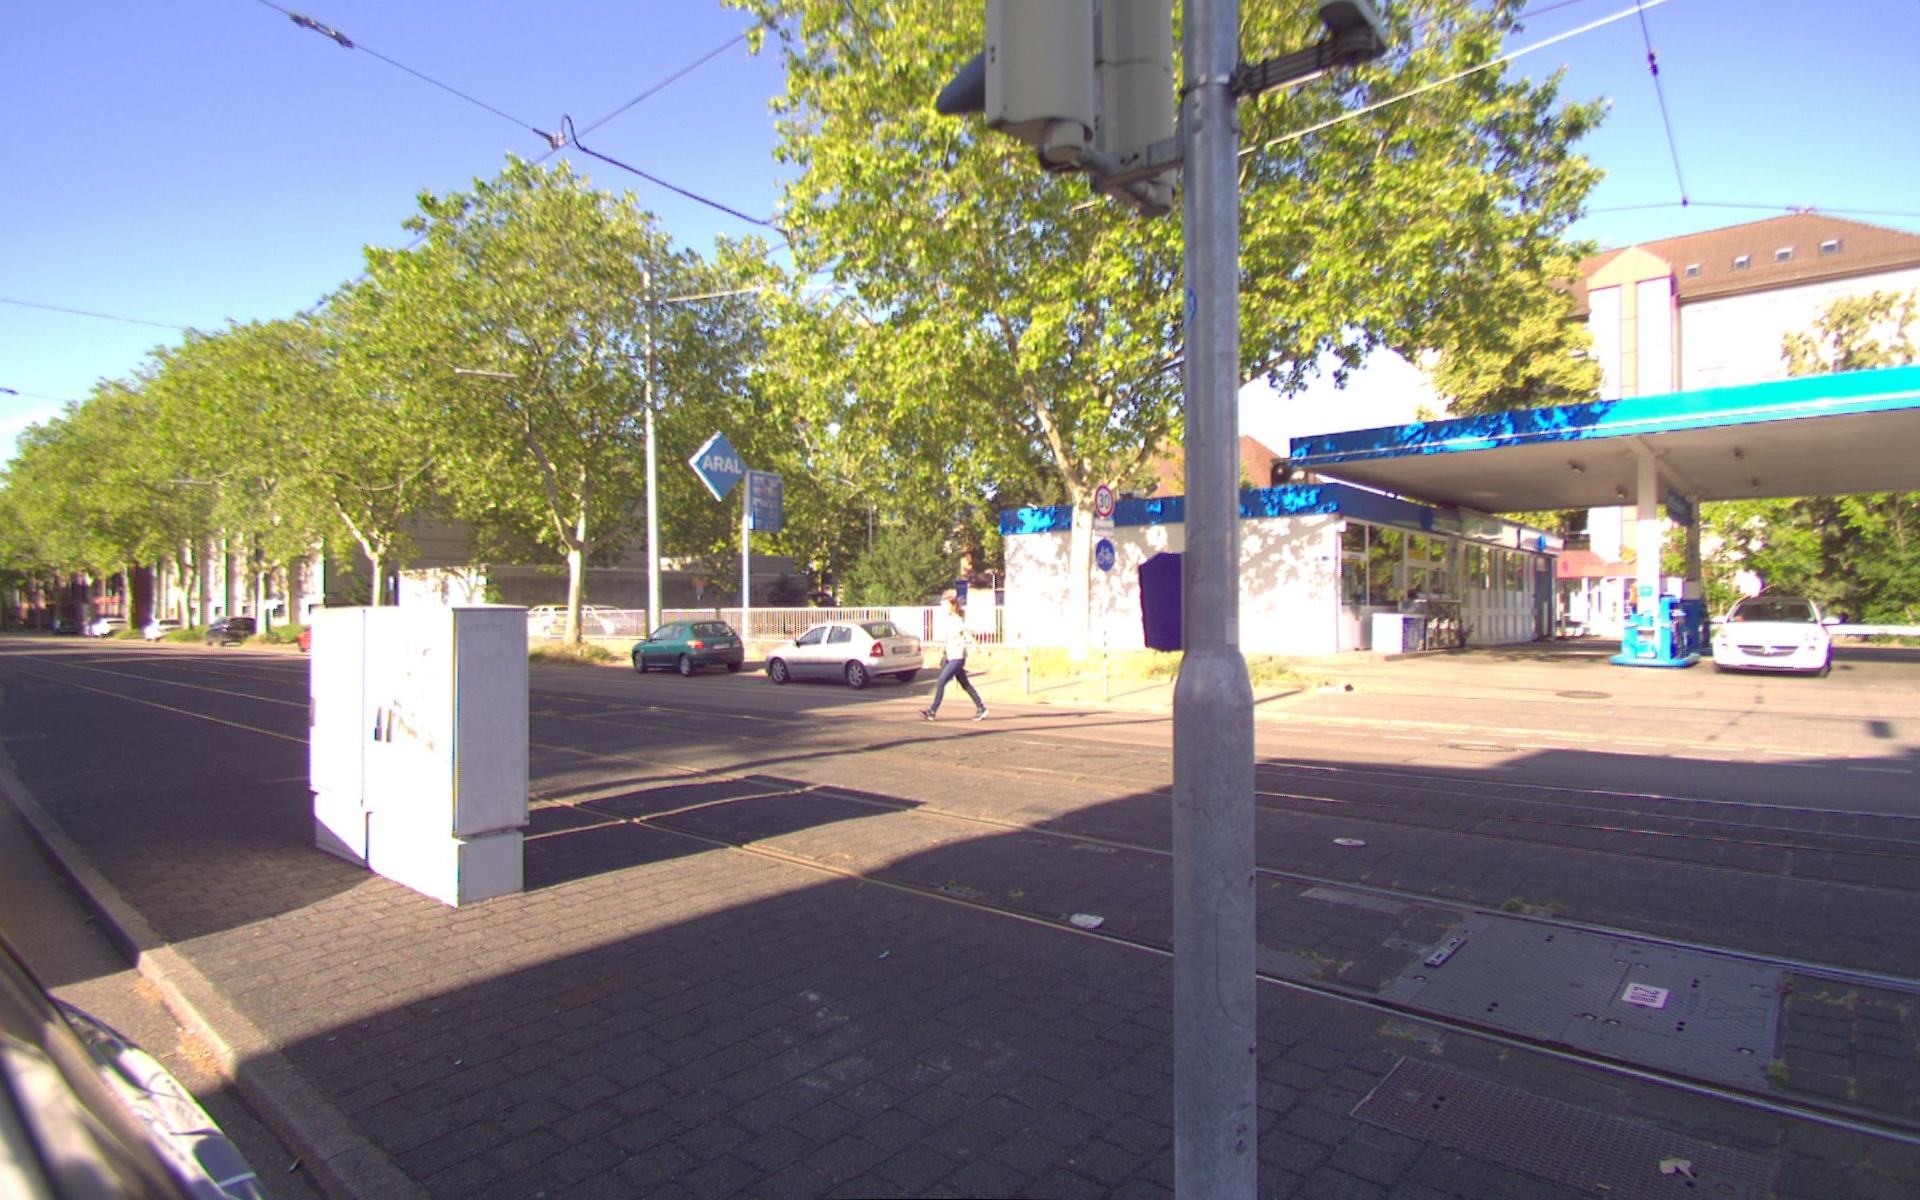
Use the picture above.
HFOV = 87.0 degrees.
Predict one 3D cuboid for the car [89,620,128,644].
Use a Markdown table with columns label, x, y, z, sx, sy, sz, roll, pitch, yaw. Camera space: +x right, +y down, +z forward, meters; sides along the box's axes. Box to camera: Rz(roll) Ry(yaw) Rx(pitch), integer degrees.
| label | x | y | z | sx | sy | sz | roll | pitch | yaw |
| --- | --- | --- | --- | --- | --- | --- | --- | --- | --- |
| car | -66.945 | 2.485 | 79.566 | 4.098 | 1.686 | 1.821 | -1 | 1 | 44 |

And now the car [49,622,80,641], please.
| label | x | y | z | sx | sy | sz | roll | pitch | yaw |
| --- | --- | --- | --- | --- | --- | --- | --- | --- | --- |
| car | -85.042 | 2.942 | 96.089 | 4.098 | 1.686 | 1.821 | -1 | 1 | 44 |

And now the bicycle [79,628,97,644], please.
| label | x | y | z | sx | sy | sz | roll | pitch | yaw |
| --- | --- | --- | --- | --- | --- | --- | --- | --- | --- |
| bicycle | -62.921 | 2.587 | 73.034 | 2.532 | 1.129 | 0.645 | -1 | -1 | 41 |

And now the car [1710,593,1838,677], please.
| label | x | y | z | sx | sy | sz | roll | pitch | yaw |
| --- | --- | --- | --- | --- | --- | --- | --- | --- | --- |
| car | 15.999 | 0.641 | 19.847 | 1.780 | 1.475 | 3.946 | -1 | -1 | 40 |

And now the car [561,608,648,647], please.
| label | x | y | z | sx | sy | sz | roll | pitch | yaw |
| --- | --- | --- | --- | --- | --- | --- | --- | --- | --- |
| car | -15.393 | 1.169 | 43.763 | 3.999 | 1.545 | 1.822 | -1 | 1 | 42 |

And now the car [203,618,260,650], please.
| label | x | y | z | sx | sy | sz | roll | pitch | yaw |
| --- | --- | --- | --- | --- | --- | --- | --- | --- | --- |
| car | -40.657 | 1.882 | 56.471 | 4.098 | 1.628 | 1.821 | -1 | 1 | 44 |

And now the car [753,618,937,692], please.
| label | x | y | z | sx | sy | sz | roll | pitch | yaw |
| --- | --- | --- | --- | --- | --- | --- | --- | --- | --- |
| car | -2.622 | 1.174 | 22.636 | 3.997 | 1.418 | 1.823 | -1 | 1 | 40 |

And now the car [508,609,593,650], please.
| label | x | y | z | sx | sy | sz | roll | pitch | yaw |
| --- | --- | --- | --- | --- | --- | --- | --- | --- | --- |
| car | -17.134 | 1.192 | 42.270 | 4.002 | 1.545 | 1.820 | -1 | 1 | 45 |

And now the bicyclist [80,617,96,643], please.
| label | x | y | z | sx | sy | sz | roll | pitch | yaw |
| --- | --- | --- | --- | --- | --- | --- | --- | --- | --- |
| bicyclist | -62.865 | 2.153 | 72.928 | 1.070 | 1.878 | 0.711 | -1 | -2 | 41 |

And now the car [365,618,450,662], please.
| label | x | y | z | sx | sy | sz | roll | pitch | yaw |
| --- | --- | --- | --- | --- | --- | --- | --- | --- | --- |
| car | -21.965 | 1.537 | 40.177 | 4.002 | 1.545 | 1.820 | -1 | 1 | 45 |

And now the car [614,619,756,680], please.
| label | x | y | z | sx | sy | sz | roll | pitch | yaw |
| --- | --- | --- | --- | --- | --- | --- | --- | --- | --- |
| car | -7.429 | 1.272 | 27.125 | 4.138 | 1.418 | 1.820 | -1 | 1 | 45 |

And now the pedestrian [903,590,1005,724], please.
| label | x | y | z | sx | sy | sz | roll | pitch | yaw |
| --- | --- | --- | --- | --- | --- | --- | --- | --- | --- |
| pedestrian | -0.086 | 0.715 | 12.887 | 1.087 | 1.631 | 0.718 | 1 | -2 | -23 |

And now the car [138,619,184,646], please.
| label | x | y | z | sx | sy | sz | roll | pitch | yaw |
| --- | --- | --- | --- | --- | --- | --- | --- | --- | --- |
| car | -53.841 | 2.157 | 68.195 | 4.098 | 1.686 | 1.821 | -1 | 1 | 44 |

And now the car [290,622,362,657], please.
| label | x | y | z | sx | sy | sz | roll | pitch | yaw |
| --- | --- | --- | --- | --- | --- | --- | --- | --- | --- |
| car | -28.965 | 1.770 | 46.170 | 4.001 | 1.418 | 1.821 | -1 | 1 | 44 |
